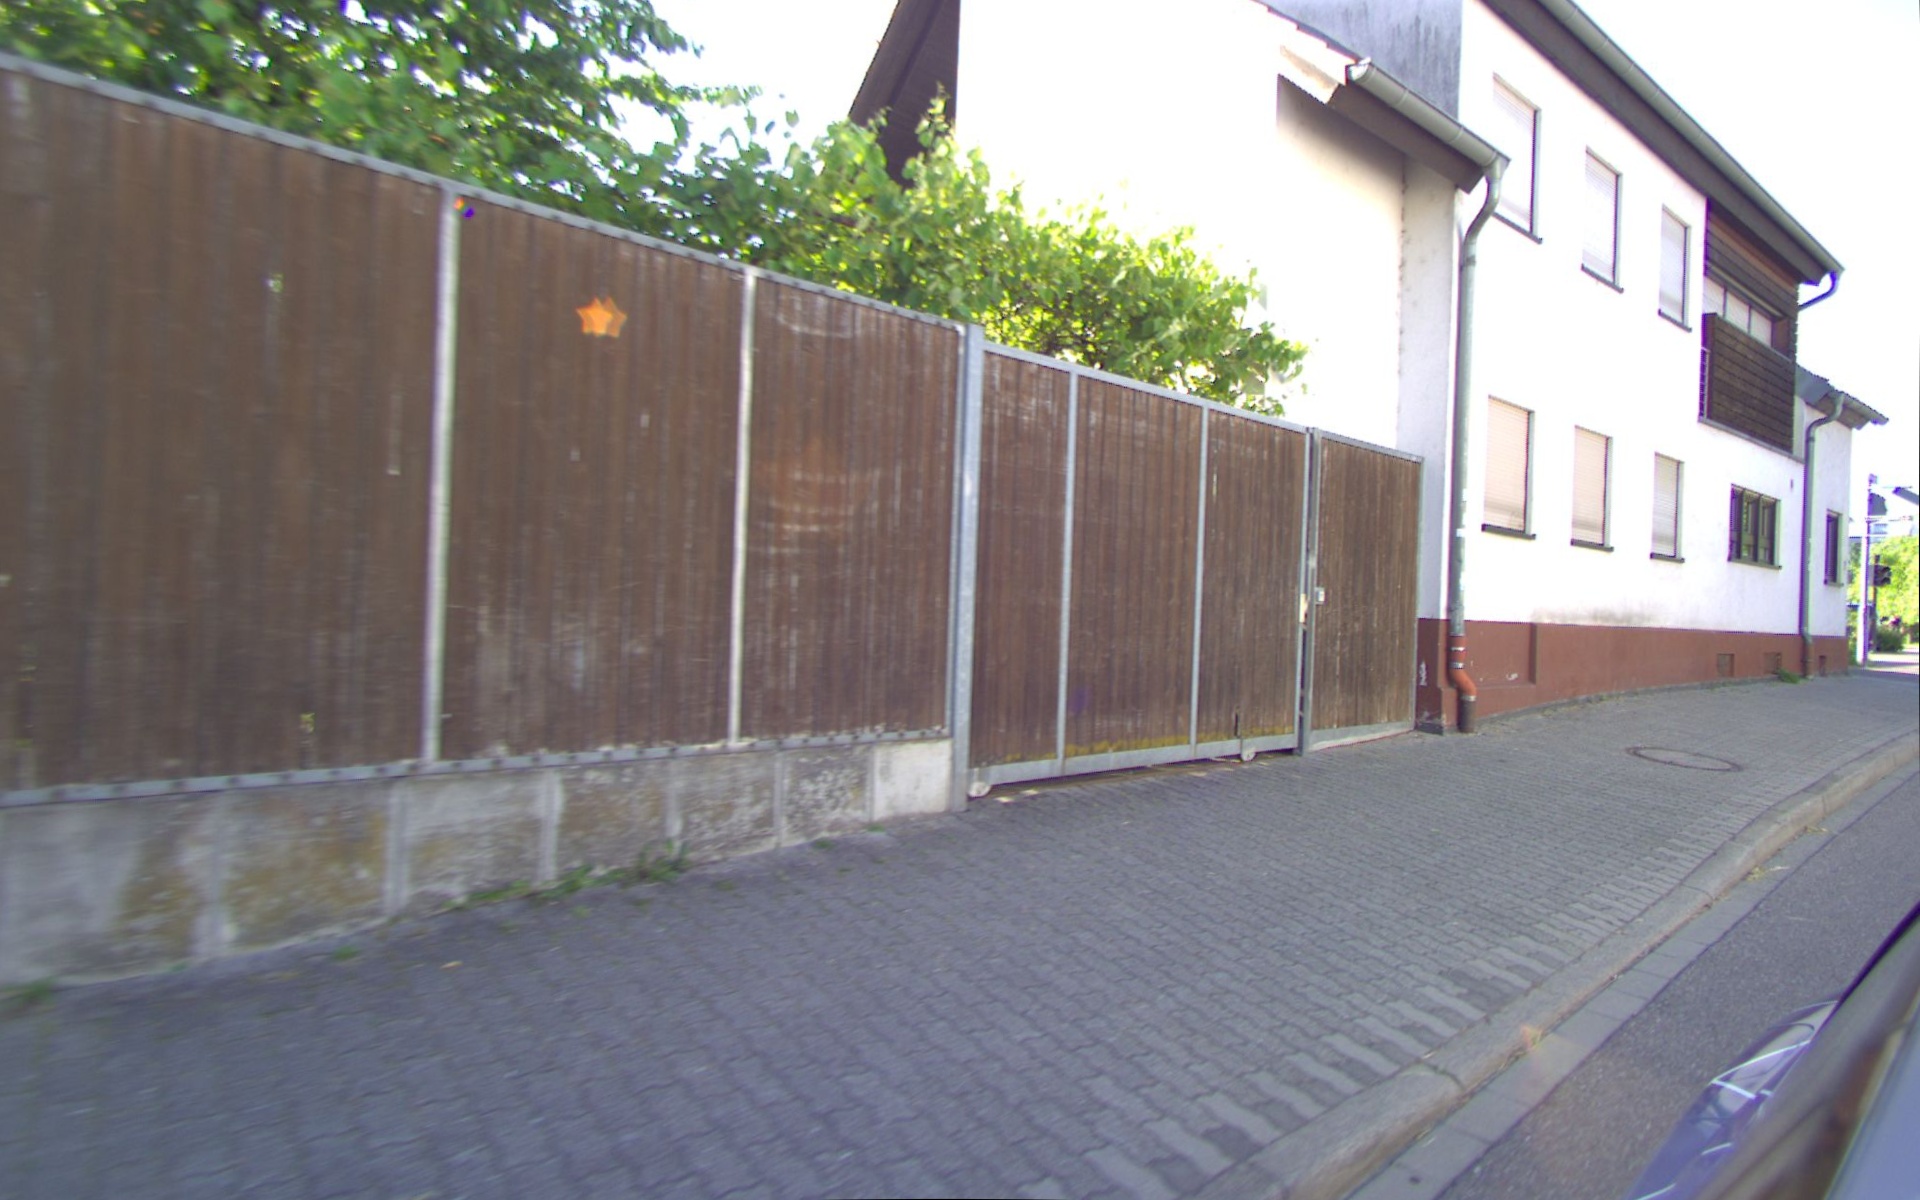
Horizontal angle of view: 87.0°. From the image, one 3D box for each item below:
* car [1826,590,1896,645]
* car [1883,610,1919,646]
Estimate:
[{"bbox_3d":[36.694,0.693,41.261,1.992,2.105,4.508,1,0,41],"label":"car"},{"bbox_3d":[53.978,1.543,57.204,1.953,1.943,4.522,1,0,34],"label":"car"}]
